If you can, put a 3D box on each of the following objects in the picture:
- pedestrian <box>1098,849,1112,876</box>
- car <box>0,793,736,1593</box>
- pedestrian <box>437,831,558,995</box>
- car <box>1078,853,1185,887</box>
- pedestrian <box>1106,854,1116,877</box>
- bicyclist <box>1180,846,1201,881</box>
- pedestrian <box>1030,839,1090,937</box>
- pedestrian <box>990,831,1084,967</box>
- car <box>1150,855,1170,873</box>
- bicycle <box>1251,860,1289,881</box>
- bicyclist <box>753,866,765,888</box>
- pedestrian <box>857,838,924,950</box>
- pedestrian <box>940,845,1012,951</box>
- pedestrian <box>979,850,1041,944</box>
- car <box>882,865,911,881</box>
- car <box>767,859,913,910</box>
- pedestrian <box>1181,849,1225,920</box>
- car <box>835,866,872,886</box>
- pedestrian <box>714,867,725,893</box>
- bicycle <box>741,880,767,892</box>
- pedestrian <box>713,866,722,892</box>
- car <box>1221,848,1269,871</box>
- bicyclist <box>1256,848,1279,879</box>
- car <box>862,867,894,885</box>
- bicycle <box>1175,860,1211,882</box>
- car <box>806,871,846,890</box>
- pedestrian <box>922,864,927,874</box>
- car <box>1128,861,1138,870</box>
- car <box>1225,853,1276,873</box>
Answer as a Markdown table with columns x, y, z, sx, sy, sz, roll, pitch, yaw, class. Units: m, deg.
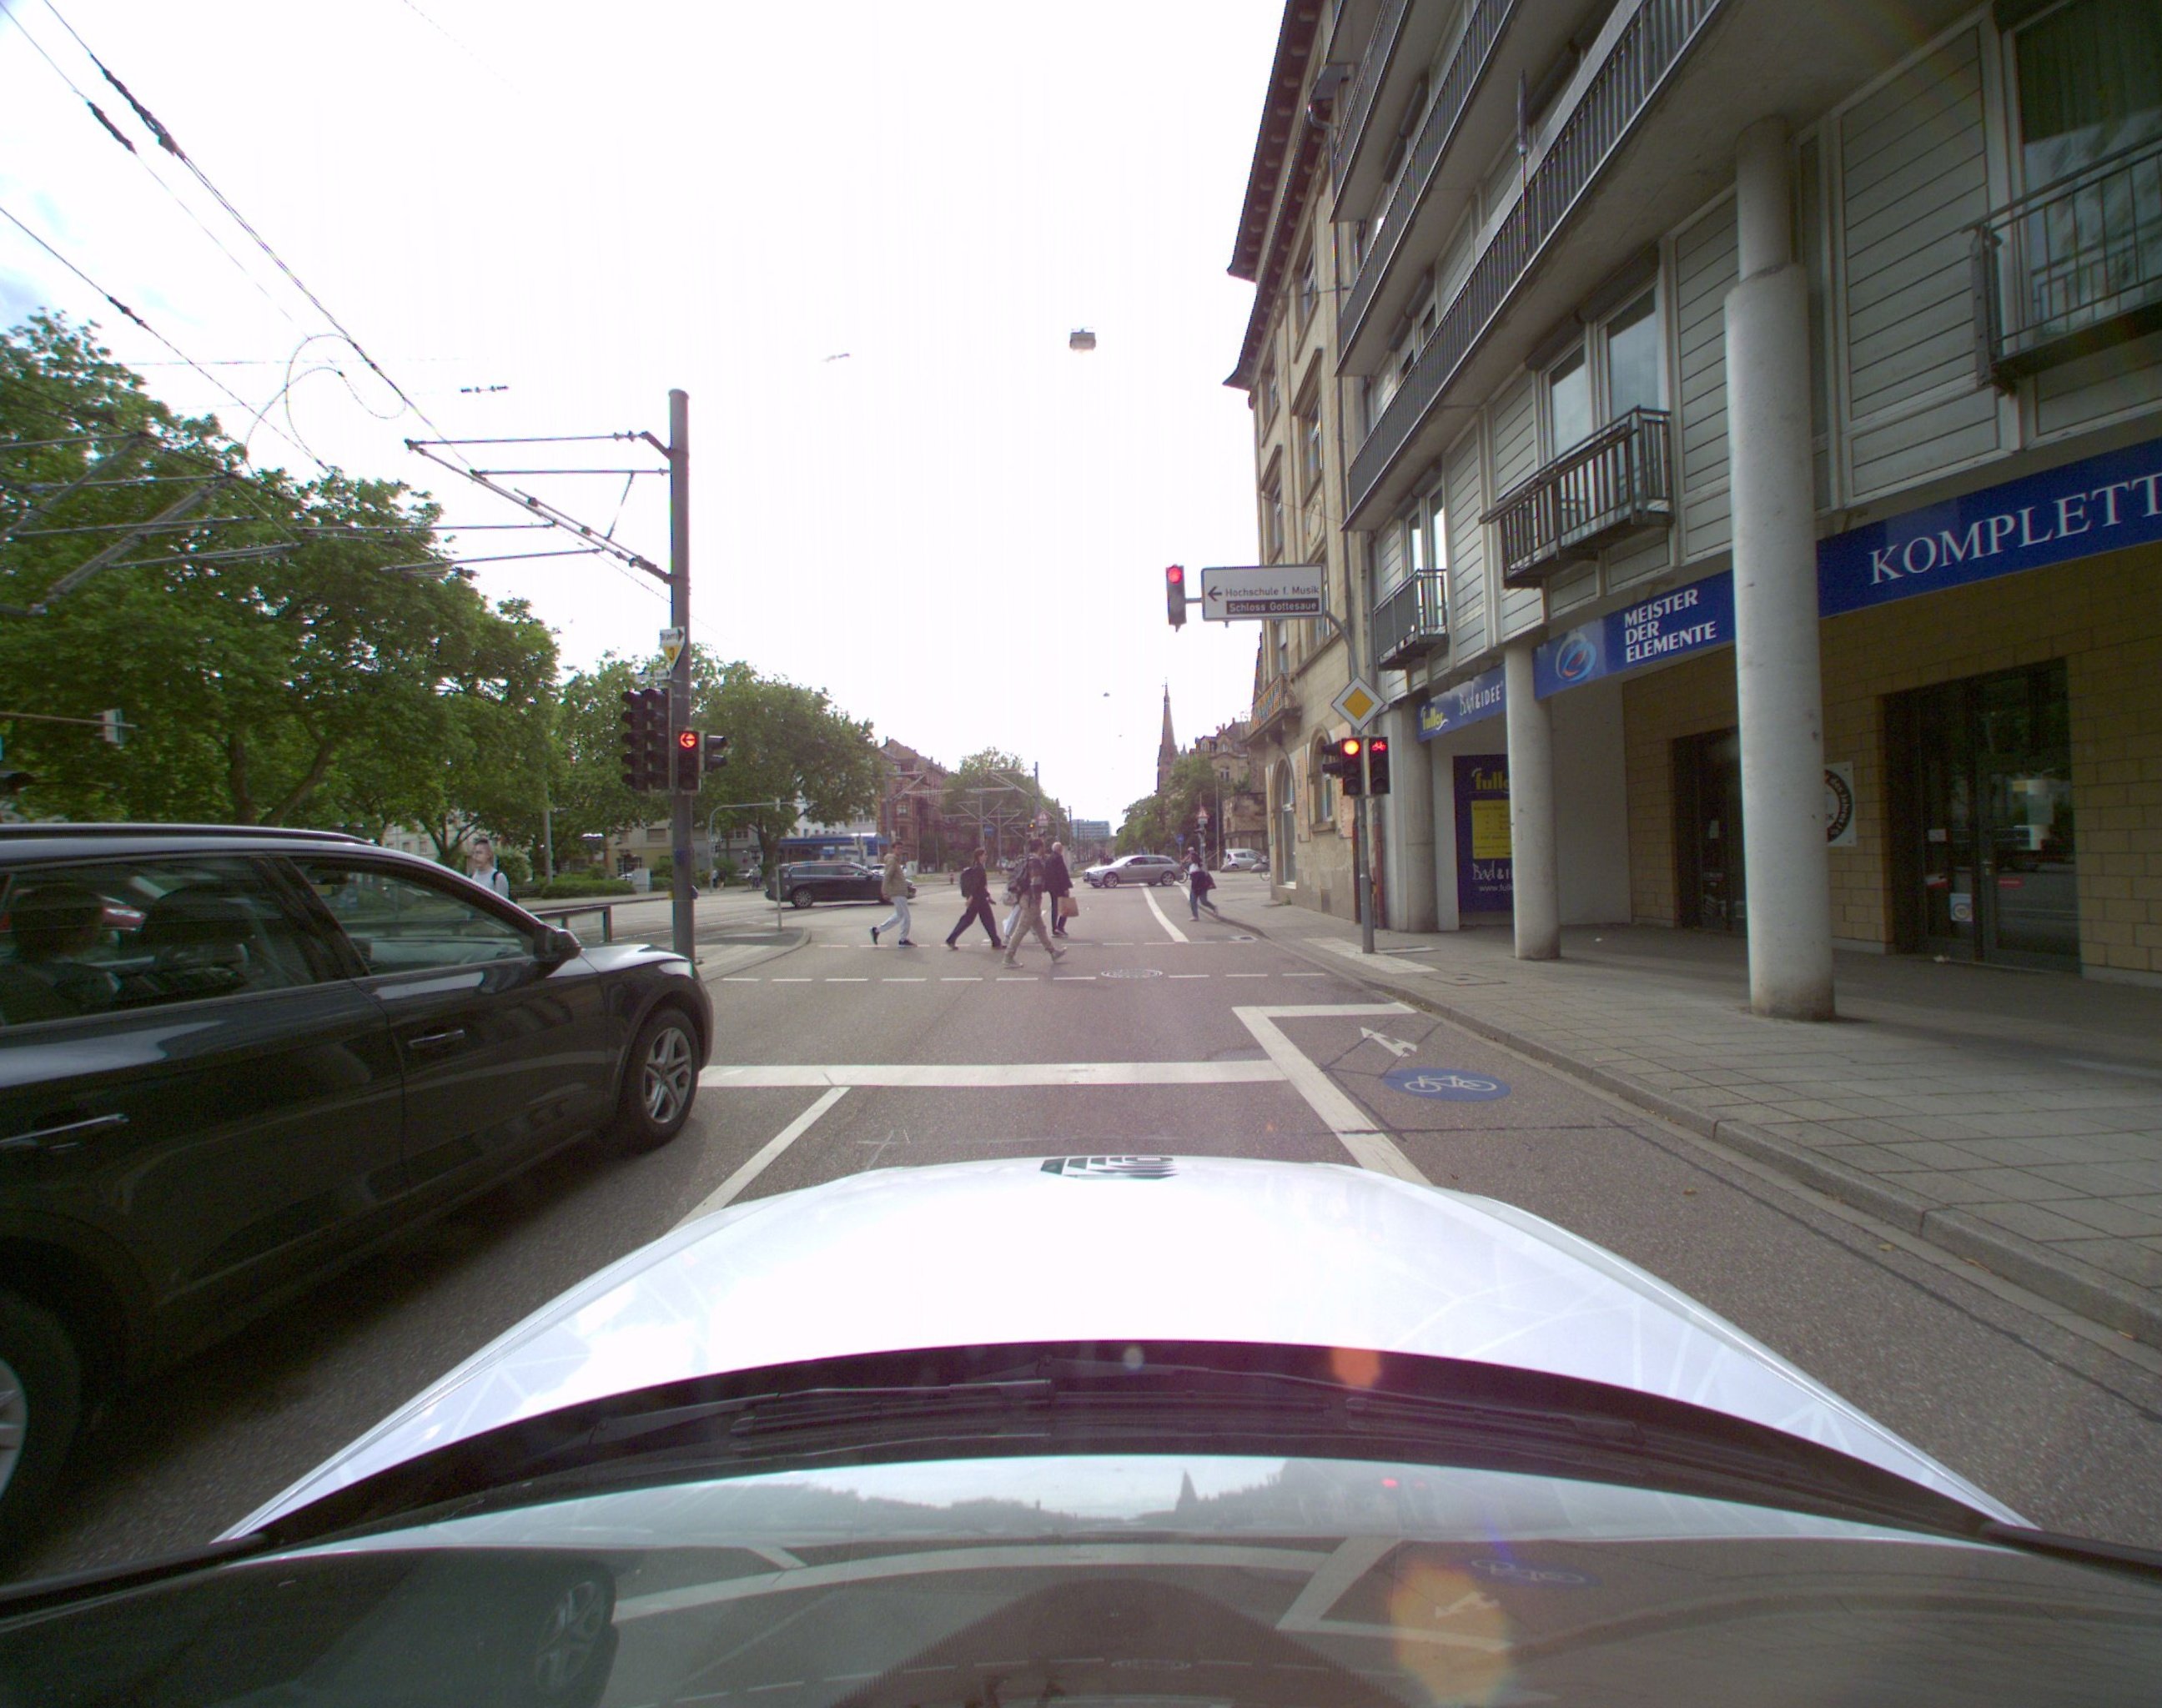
| x | y | z | sx | sy | sz | roll | pitch | yaw | class |
| --- | --- | --- | --- | --- | --- | --- | --- | --- | --- |
| 1.509 | 0.539 | 51.782 | 0.848 | 1.654 | 0.508 | 0 | -1 | -1 | pedestrian |
| -3.092 | 0.704 | 2.784 | 1.873 | 1.601 | 4.358 | -1 | -1 | 1 | car |
| -6.168 | 0.601 | 8.648 | 0.751 | 1.661 | 0.730 | 0 | -1 | 1 | pedestrian |
| 2.377 | 0.727 | 38.423 | 4.734 | 1.510 | 1.826 | 0 | -1 | -20 | car |
| 1.964 | 0.766 | 53.746 | 0.651 | 1.537 | 0.465 | 0 | -1 | -3 | pedestrian |
| 5.836 | 0.488 | 43.266 | 0.970 | 1.819 | 0.527 | 0 | -1 | -27 | bicyclist |
| -0.401 | 0.625 | 15.404 | 0.906 | 1.784 | 0.651 | -1 | -1 | 39 | pedestrian |
| -0.612 | 0.589 | 11.147 | 1.132 | 1.779 | 0.625 | -1 | -1 | -16 | pedestrian |
| 8.860 | 1.100 | 91.834 | 1.986 | 2.014 | 4.001 | 0 | -1 | 1 | car |
| 10.469 | 0.895 | 45.170 | 1.943 | 1.135 | 0.731 | 0 | -1 | -19 | bicycle |
| -22.543 | 1.609 | 56.955 | 0.585 | 1.567 | 0.619 | 0 | -1 | 1 | bicyclist |
| -3.189 | 0.646 | 13.591 | 1.015 | 1.813 | 0.580 | 0 | -1 | -22 | pedestrian |
| -1.703 | 0.684 | 13.245 | 0.620 | 1.652 | 1.003 | -1 | -1 | 39 | pedestrian |
| -1.250 | 0.731 | 14.302 | 0.693 | 1.593 | 0.836 | -1 | -1 | 39 | pedestrian |
| -18.418 | 1.899 | 81.402 | 1.887 | 1.557 | 3.837 | 0 | -1 | 2 | car |
| -7.881 | 0.951 | 26.612 | 4.450 | 1.510 | 1.825 | 0 | -1 | -23 | car |
| 2.962 | 0.729 | 19.758 | 0.663 | 1.680 | 0.874 | -1 | -1 | 40 | pedestrian |
| -18.806 | 1.791 | 67.521 | 1.887 | 1.557 | 3.837 | 0 | -1 | 2 | car |
| -25.139 | 1.795 | 56.656 | 0.370 | 1.784 | 0.555 | -1 | -1 | 33 | pedestrian |
| -22.840 | 2.244 | 56.858 | 1.665 | 0.773 | 0.659 | -1 | -1 | 22 | bicycle |
| -25.239 | 1.753 | 56.592 | 0.370 | 1.784 | 0.452 | -1 | -1 | 34 | pedestrian |
| 14.029 | 0.446 | 69.787 | 3.785 | 1.904 | 2.001 | 0 | -1 | 1 | car |
| 10.352 | 0.506 | 45.147 | 1.041 | 1.683 | 0.641 | 0 | -1 | -19 | bicyclist |
| -18.568 | 2.008 | 74.541 | 1.887 | 1.557 | 3.837 | 0 | -1 | 2 | car |
| 5.948 | 0.885 | 43.321 | 1.910 | 1.142 | 0.623 | 0 | -1 | -28 | bicycle |
| -19.128 | 1.993 | 61.209 | 1.628 | 1.325 | 4.001 | 0 | -1 | 2 | car |
| -22.072 | 2.094 | 115.025 | 0.447 | 1.460 | 0.528 | -1 | -1 | 45 | pedestrian |
| 11.098 | 2.480 | 173.917 | 1.986 | 2.014 | 4.001 | 0 | -1 | 1 | car |
| 13.763 | 0.743 | 66.375 | 3.785 | 1.601 | 2.001 | 0 | -1 | 1 | car |
